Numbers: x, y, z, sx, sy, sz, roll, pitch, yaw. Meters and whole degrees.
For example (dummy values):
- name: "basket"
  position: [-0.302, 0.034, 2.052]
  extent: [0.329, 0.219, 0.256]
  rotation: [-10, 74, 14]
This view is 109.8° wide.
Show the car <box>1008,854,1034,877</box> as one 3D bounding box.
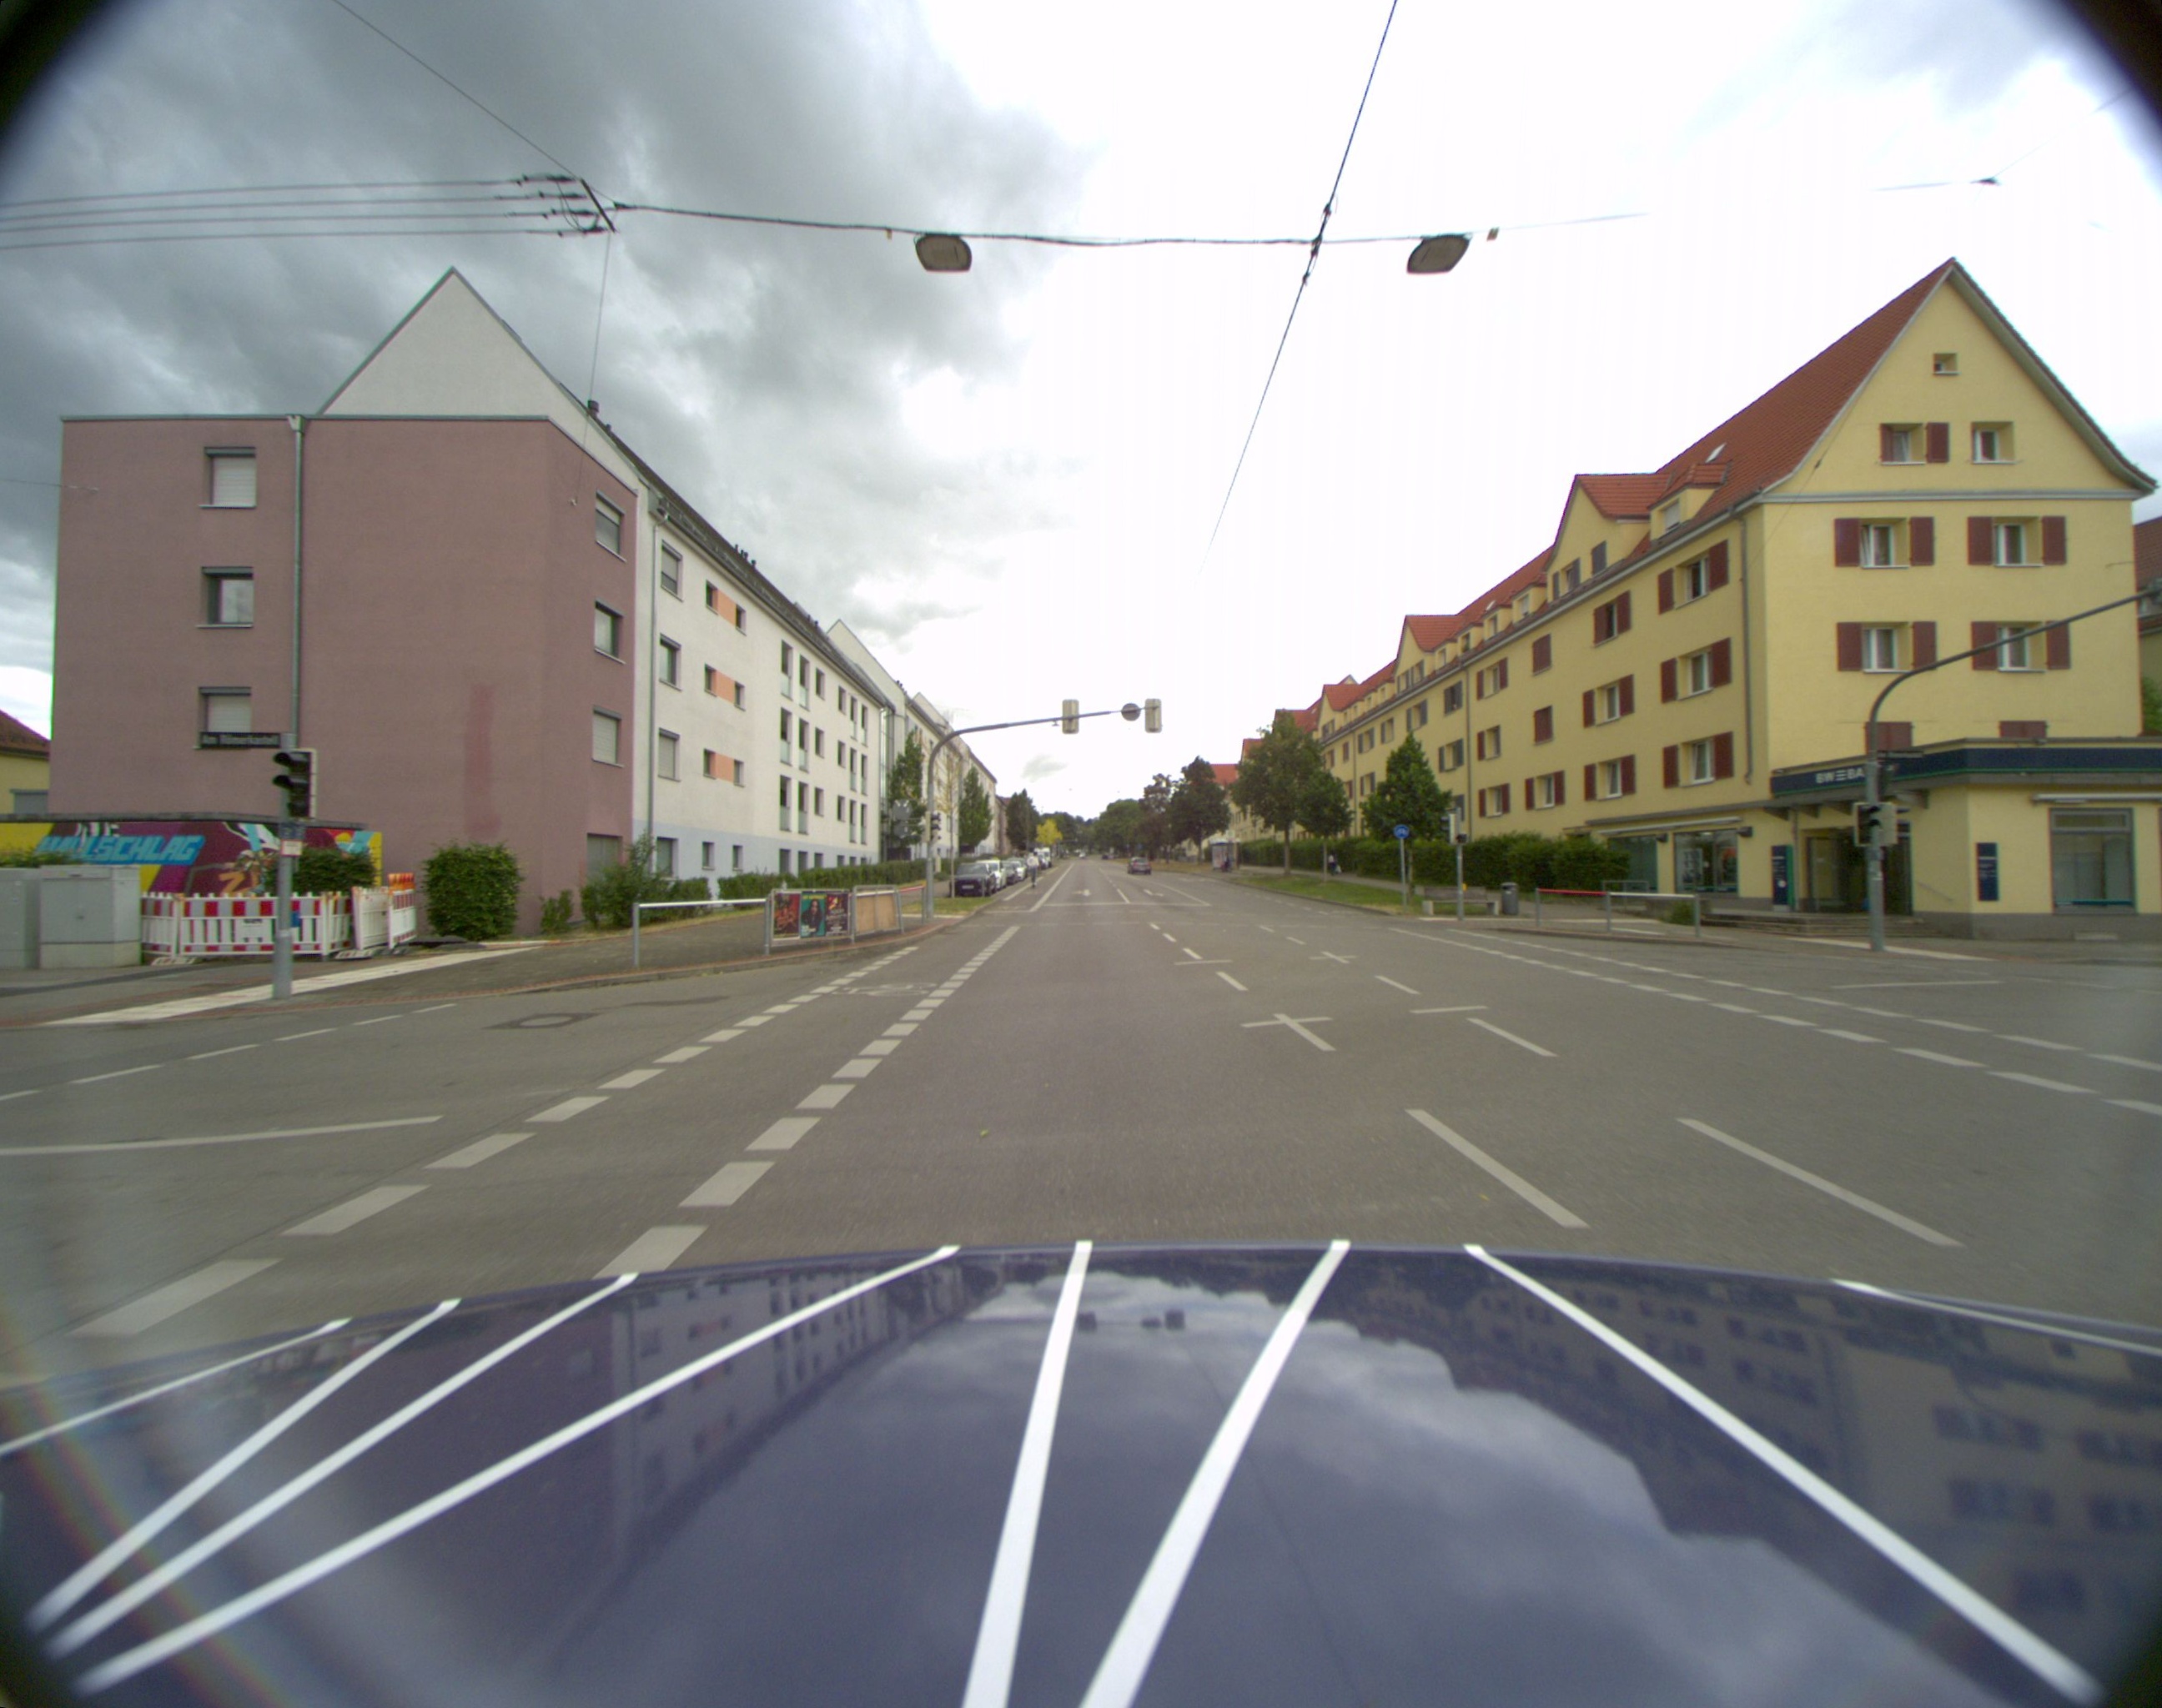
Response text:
- name: "car"
  position: [-4.637, 0.850, 59.167]
  extent: [1.636, 1.640, 4.356]
  rotation: [-2, 0, 1]

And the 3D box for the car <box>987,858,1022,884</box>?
- name: "car"
  position: [-4.810, 1.057, 48.302]
  extent: [1.750, 1.459, 4.948]
  rotation: [-2, 0, -1]

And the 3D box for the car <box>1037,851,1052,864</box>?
- name: "car"
  position: [-4.307, 0.389, 89.742]
  extent: [1.529, 1.477, 3.726]
  rotation: [-2, 0, 0]

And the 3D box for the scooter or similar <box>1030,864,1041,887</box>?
- name: "scooter or similar"
  position: [-2.500, 1.170, 41.754]
  extent: [0.492, 1.156, 2.074]
  rotation: [-1, 0, 0]

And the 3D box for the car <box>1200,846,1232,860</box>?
- name: "car"
  position: [21.006, -0.194, 118.525]
  extent: [4.729, 2.240, 1.995]
  rotation: [0, 1, 1]

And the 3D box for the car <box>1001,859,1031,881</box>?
- name: "car"
  position: [-4.555, 1.079, 53.760]
  extent: [1.734, 1.405, 4.499]
  rotation: [-2, 0, -1]

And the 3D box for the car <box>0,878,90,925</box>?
- name: "car"
  position: [-32.788, 1.445, 22.465]
  extent: [1.750, 1.347, 3.898]
  rotation: [-1, 0, 5]

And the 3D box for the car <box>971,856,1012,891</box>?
- name: "car"
  position: [-4.825, 1.013, 41.530]
  extent: [1.663, 1.706, 4.551]
  rotation: [-2, 0, 0]

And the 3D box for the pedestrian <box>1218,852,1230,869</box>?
- name: "pedestrian"
  position: [12.672, 0.579, 67.477]
  extent: [0.901, 1.465, 0.806]
  rotation: [-2, 0, 1]

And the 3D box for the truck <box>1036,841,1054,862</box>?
- name: "truck"
  position: [-4.474, -0.286, 95.419]
  extent: [2.058, 2.550, 5.689]
  rotation: [-1, 0, -1]

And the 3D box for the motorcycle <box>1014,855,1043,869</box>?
- name: "motorcycle"
  position: [-4.784, 0.727, 69.633]
  extent: [2.605, 1.271, 0.753]
  rotation: [-1, 0, -4]

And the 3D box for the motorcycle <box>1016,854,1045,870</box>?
- name: "motorcycle"
  position: [-4.590, 0.692, 68.622]
  extent: [2.605, 1.372, 0.692]
  rotation: [-1, 1, -4]

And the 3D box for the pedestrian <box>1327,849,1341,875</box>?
- name: "pedestrian"
  position: [16.077, 0.524, 48.348]
  extent: [0.642, 1.610, 0.618]
  rotation: [-1, 1, -1]

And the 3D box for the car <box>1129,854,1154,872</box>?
- name: "car"
  position: [5.325, 0.800, 67.527]
  extent: [1.761, 1.464, 4.306]
  rotation: [2, 0, -1]

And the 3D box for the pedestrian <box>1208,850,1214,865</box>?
- name: "pedestrian"
  position: [15.851, 0.431, 92.801]
  extent: [0.515, 1.769, 0.753]
  rotation: [-1, 1, 0]

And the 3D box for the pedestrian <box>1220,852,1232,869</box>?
- name: "pedestrian"
  position: [12.635, 0.563, 66.116]
  extent: [0.901, 1.501, 0.806]
  rotation: [-2, 0, 1]

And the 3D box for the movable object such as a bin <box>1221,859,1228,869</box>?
- name: "movable object such as a bin"
  position: [12.497, 0.898, 66.133]
  extent: [0.538, 0.841, 0.665]
  rotation: [-2, 0, 1]

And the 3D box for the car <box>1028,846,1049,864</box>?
- name: "car"
  position: [-4.685, 0.092, 84.685]
  extent: [1.999, 1.932, 5.211]
  rotation: [-1, 0, 0]

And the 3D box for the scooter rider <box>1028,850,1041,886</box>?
- name: "scooter rider"
  position: [-2.566, 0.761, 41.992]
  extent: [0.627, 2.002, 0.757]
  rotation: [-1, 1, -1]

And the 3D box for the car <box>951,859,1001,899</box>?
- name: "car"
  position: [-4.896, 1.124, 35.958]
  extent: [1.739, 1.579, 4.571]
  rotation: [-2, 1, -1]

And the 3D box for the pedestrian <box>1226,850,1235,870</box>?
- name: "pedestrian"
  position: [12.559, 0.488, 63.682]
  extent: [0.598, 1.717, 0.861]
  rotation: [-1, 1, 3]
